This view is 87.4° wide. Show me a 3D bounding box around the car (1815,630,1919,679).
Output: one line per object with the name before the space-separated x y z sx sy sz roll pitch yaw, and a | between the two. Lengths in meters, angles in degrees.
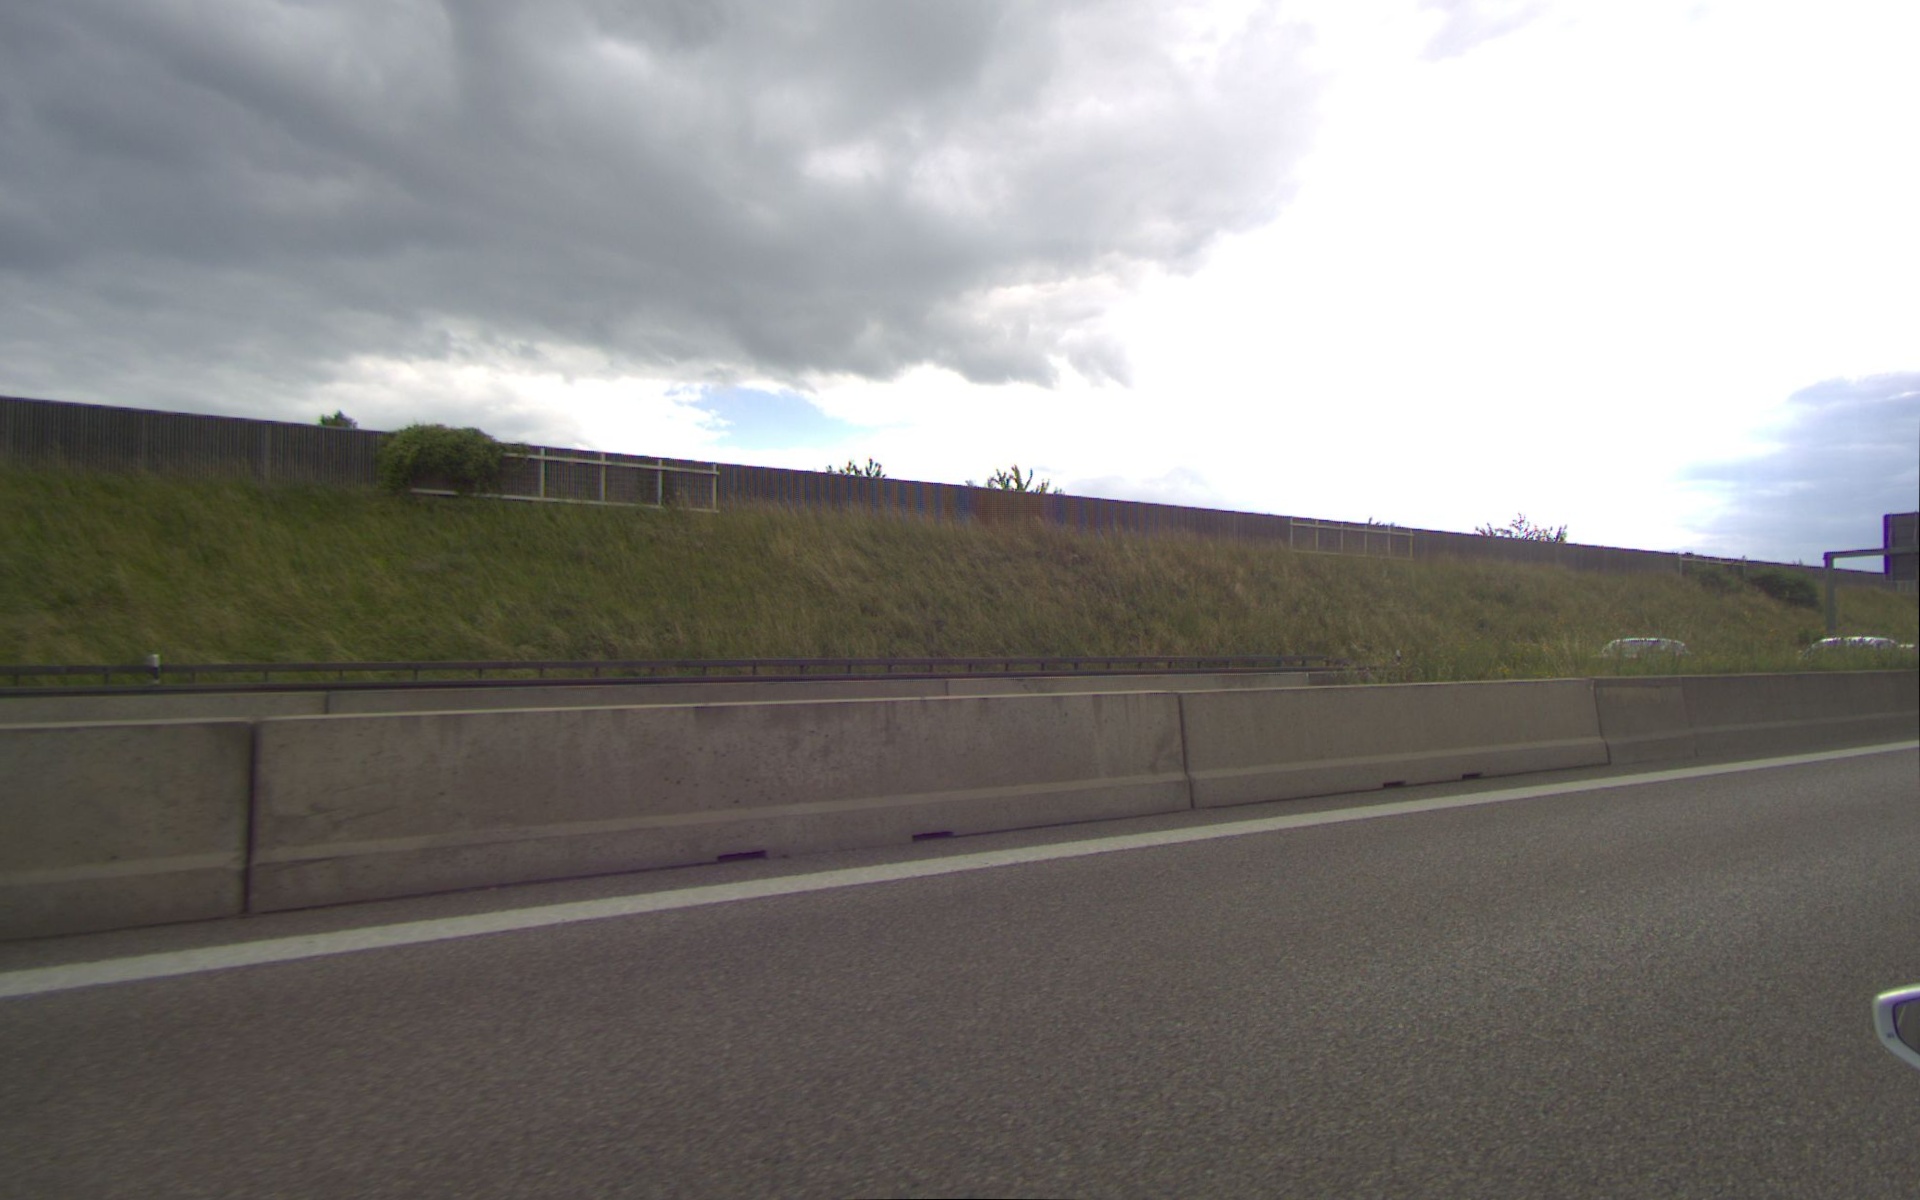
car | 29.533 1.716 32.017 4.883 1.382 1.984 1 0 -31
